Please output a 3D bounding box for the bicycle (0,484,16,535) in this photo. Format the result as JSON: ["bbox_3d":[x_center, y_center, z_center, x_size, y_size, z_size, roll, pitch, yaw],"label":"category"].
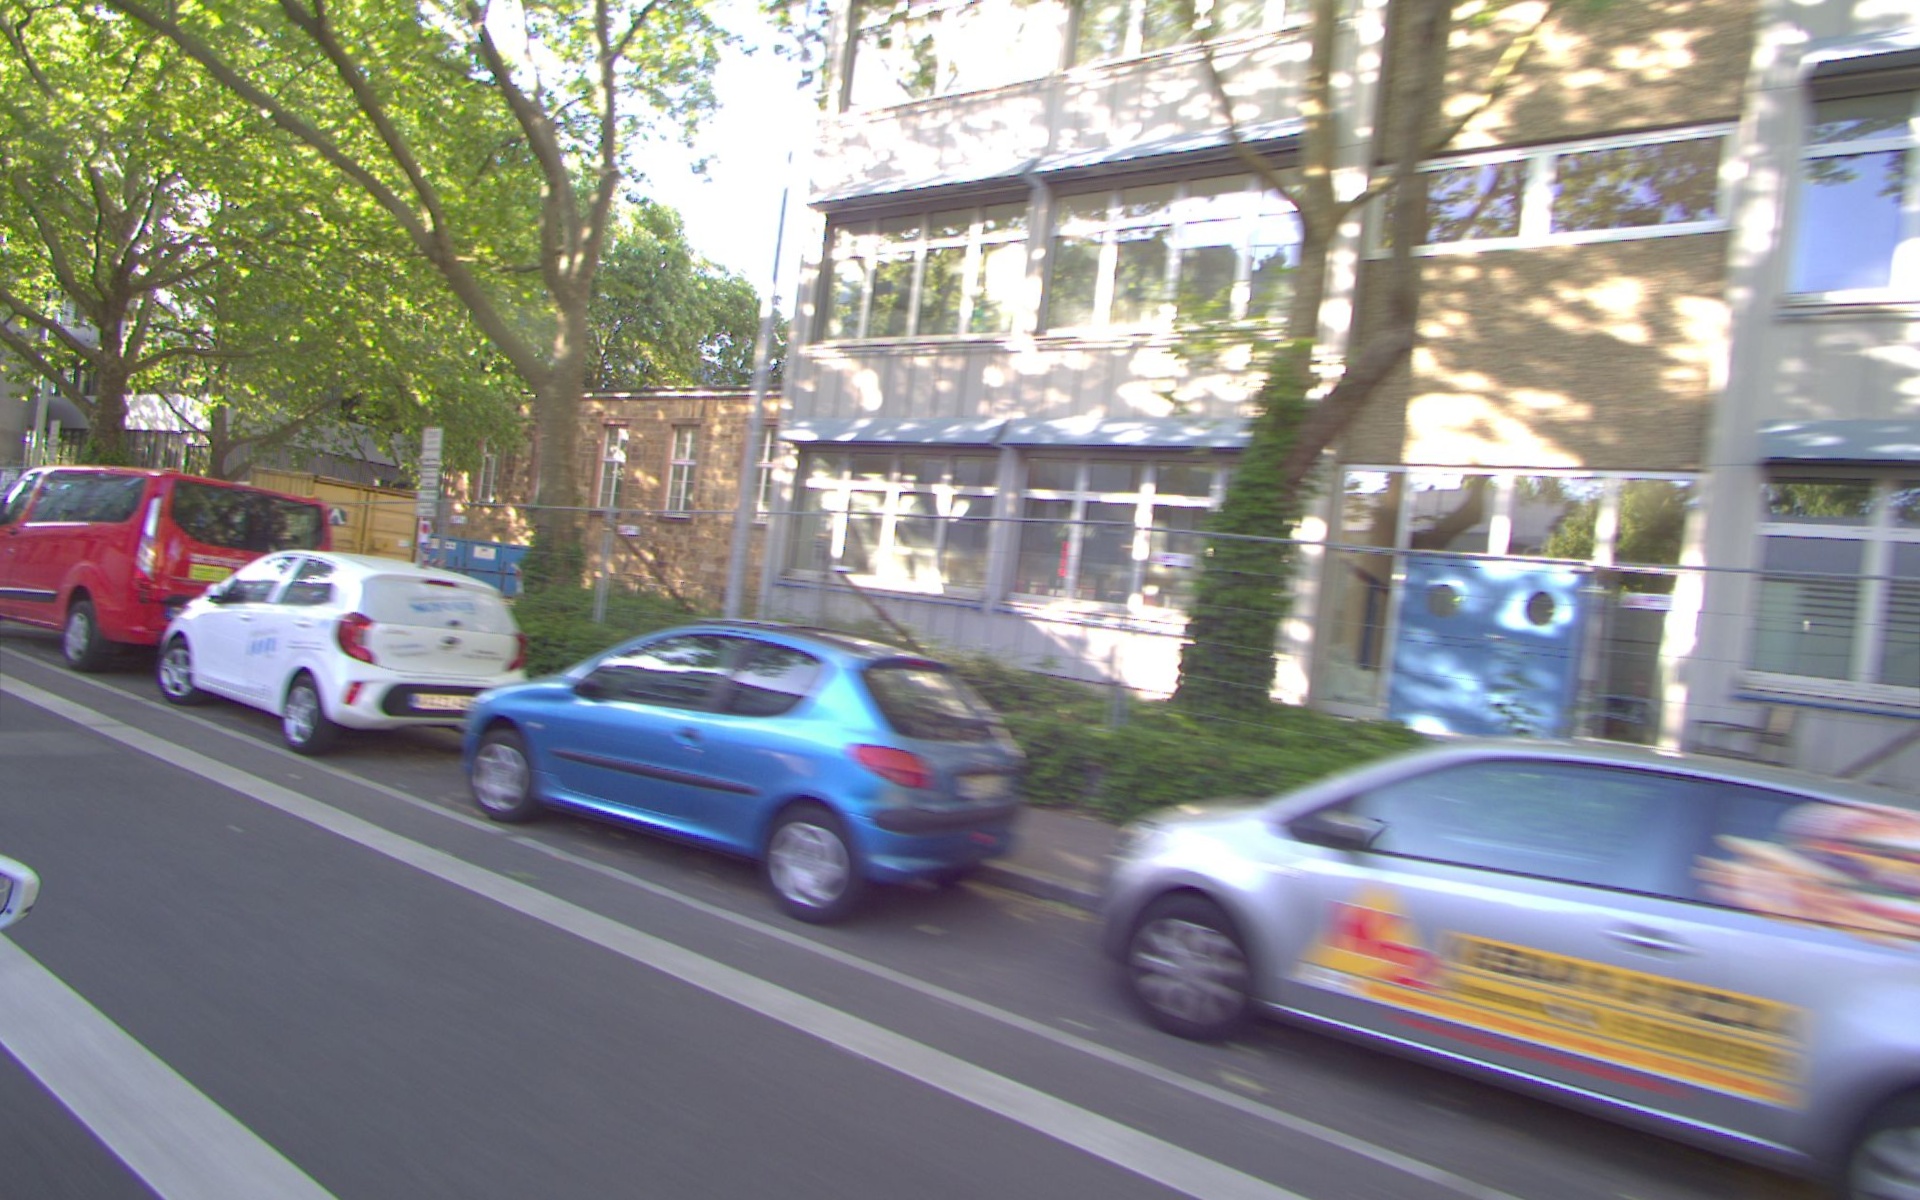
[{"bbox_3d":[-40.512,-3.862,41.082,0.730,2.038,2.601,6,-1,31],"label":"bicycle"}]

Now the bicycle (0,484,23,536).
[{"bbox_3d":[-39.751,-3.793,40.578,0.730,2.038,2.601,6,-1,31],"label":"bicycle"}]

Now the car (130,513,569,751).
[{"bbox_3d":[-5.314,0.229,8.649,3.698,1.502,1.641,6,-3,33],"label":"car"}]

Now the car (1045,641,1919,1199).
[{"bbox_3d":[2.337,1.181,4.281,3.434,1.491,1.618,6,-3,31],"label":"car"}]

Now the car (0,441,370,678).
[{"bbox_3d":[-9.207,-0.508,11.211,5.083,2.016,2.084,6,-3,29],"label":"car"}]

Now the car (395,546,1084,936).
[{"bbox_3d":[-1.435,0.709,6.408,3.861,1.527,1.861,7,-3,29],"label":"car"}]
